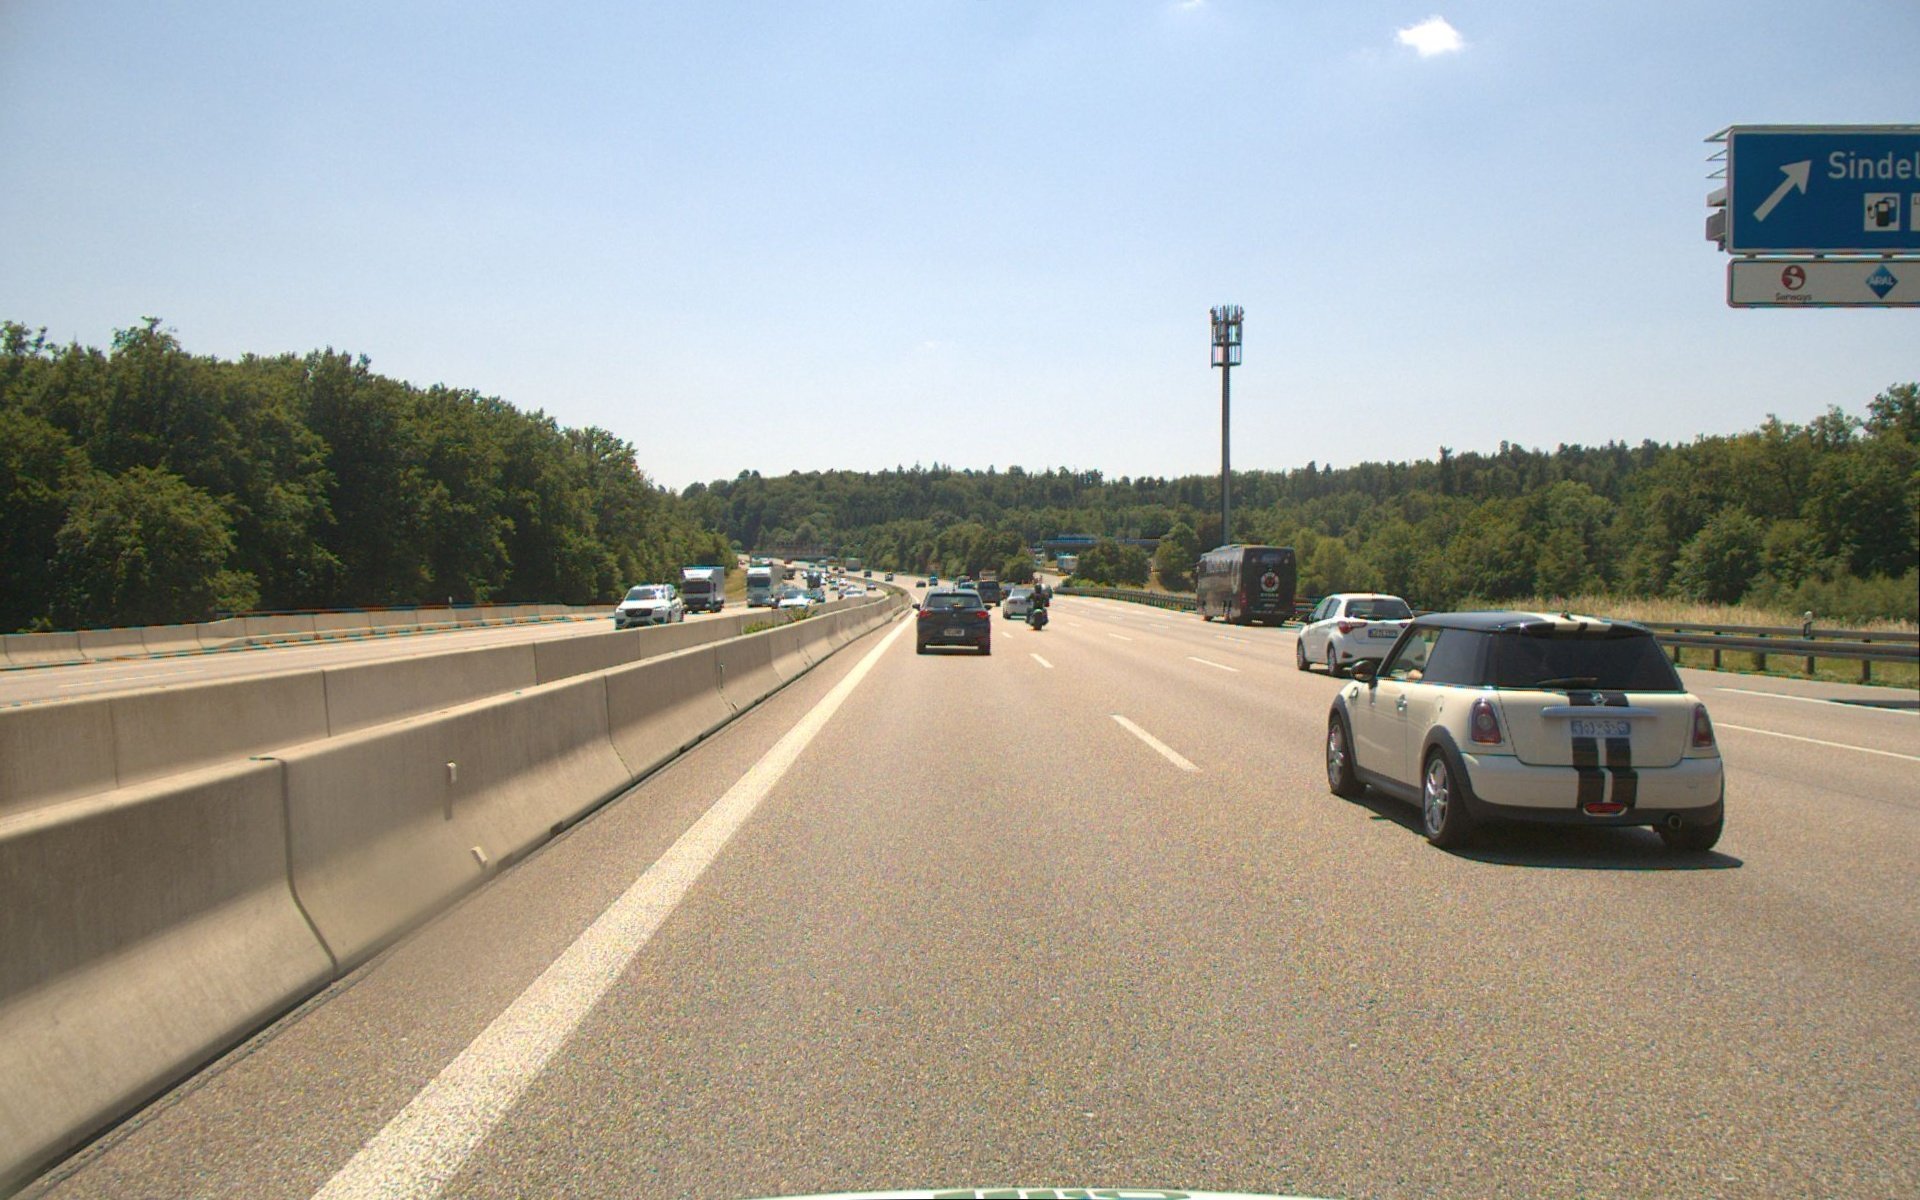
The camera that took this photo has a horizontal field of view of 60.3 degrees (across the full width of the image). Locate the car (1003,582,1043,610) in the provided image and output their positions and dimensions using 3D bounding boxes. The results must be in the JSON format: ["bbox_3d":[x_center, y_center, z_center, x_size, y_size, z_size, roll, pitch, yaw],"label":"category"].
[{"bbox_3d":[2.996,-0.211,79.191,1.746,1.287,3.459,0,1,-1],"label":"car"}]

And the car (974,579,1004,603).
[{"bbox_3d":[2.237,-0.719,128.837,2.055,1.884,4.078,0,1,-3],"label":"car"}]

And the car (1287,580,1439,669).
[{"bbox_3d":[7.479,0.402,31.100,1.633,1.458,4.374,-3,1,-1],"label":"car"}]

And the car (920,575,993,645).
[{"bbox_3d":[-0.093,0.246,38.055,1.591,1.513,3.684,0,-1,-1],"label":"car"}]

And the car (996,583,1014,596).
[{"bbox_3d":[4.380,-1.031,161.661,1.576,1.233,3.458,-1,1,-2],"label":"car"}]

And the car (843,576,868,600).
[{"bbox_3d":[-9.022,-1.067,142.946,1.737,1.912,5.211,1,2,1],"label":"car"}]

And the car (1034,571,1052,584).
[{"bbox_3d":[8.600,-2.339,172.025,1.576,1.233,3.458,-1,1,-2],"label":"car"}]

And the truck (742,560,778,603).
[{"bbox_3d":[-20.690,-1.917,171.491,2.660,4.170,7.875,-3,1,-1],"label":"truck"}]

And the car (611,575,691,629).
[{"bbox_3d":[-11.237,0.041,60.464,1.953,1.818,5.318,-2,1,-1],"label":"car"}]

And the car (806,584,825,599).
[{"bbox_3d":[-15.912,-0.984,182.546,1.761,1.506,4.396,-2,1,-1],"label":"car"}]

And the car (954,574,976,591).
[{"bbox_3d":[0.500,-1.904,179.399,1.955,1.713,4.420,1,2,-5],"label":"car"}]

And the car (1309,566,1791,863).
[{"bbox_3d":[3.698,0.598,11.184,1.803,1.579,4.001,0,2,0],"label":"car"}]

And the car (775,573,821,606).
[{"bbox_3d":[-8.083,-0.533,82.842,1.811,1.550,5.318,-2,1,-1],"label":"car"}]

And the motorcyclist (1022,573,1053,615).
[{"bbox_3d":[2.777,-0.229,59.095,0.943,1.462,1.234,-2,1,-3],"label":"motorcyclist"}]

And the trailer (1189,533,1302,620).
[{"bbox_3d":[13.440,-1.072,79.127,2.799,3.752,13.540,-1,0,-1],"label":"trailer"}]

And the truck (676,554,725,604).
[{"bbox_3d":[-20.132,-1.610,128.772,2.488,3.633,8.575,-3,1,-2],"label":"truck"}]

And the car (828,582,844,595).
[{"bbox_3d":[-15.969,-1.476,213.188,1.761,1.672,5.078,-1,-1,-1],"label":"car"}]

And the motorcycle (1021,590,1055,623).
[{"bbox_3d":[2.778,0.208,59.277,0.958,1.149,2.269,0,1,-3],"label":"motorcycle"}]

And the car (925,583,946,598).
[{"bbox_3d":[-2.100,-0.788,141.476,1.506,1.233,3.456,-1,1,-5],"label":"car"}]
